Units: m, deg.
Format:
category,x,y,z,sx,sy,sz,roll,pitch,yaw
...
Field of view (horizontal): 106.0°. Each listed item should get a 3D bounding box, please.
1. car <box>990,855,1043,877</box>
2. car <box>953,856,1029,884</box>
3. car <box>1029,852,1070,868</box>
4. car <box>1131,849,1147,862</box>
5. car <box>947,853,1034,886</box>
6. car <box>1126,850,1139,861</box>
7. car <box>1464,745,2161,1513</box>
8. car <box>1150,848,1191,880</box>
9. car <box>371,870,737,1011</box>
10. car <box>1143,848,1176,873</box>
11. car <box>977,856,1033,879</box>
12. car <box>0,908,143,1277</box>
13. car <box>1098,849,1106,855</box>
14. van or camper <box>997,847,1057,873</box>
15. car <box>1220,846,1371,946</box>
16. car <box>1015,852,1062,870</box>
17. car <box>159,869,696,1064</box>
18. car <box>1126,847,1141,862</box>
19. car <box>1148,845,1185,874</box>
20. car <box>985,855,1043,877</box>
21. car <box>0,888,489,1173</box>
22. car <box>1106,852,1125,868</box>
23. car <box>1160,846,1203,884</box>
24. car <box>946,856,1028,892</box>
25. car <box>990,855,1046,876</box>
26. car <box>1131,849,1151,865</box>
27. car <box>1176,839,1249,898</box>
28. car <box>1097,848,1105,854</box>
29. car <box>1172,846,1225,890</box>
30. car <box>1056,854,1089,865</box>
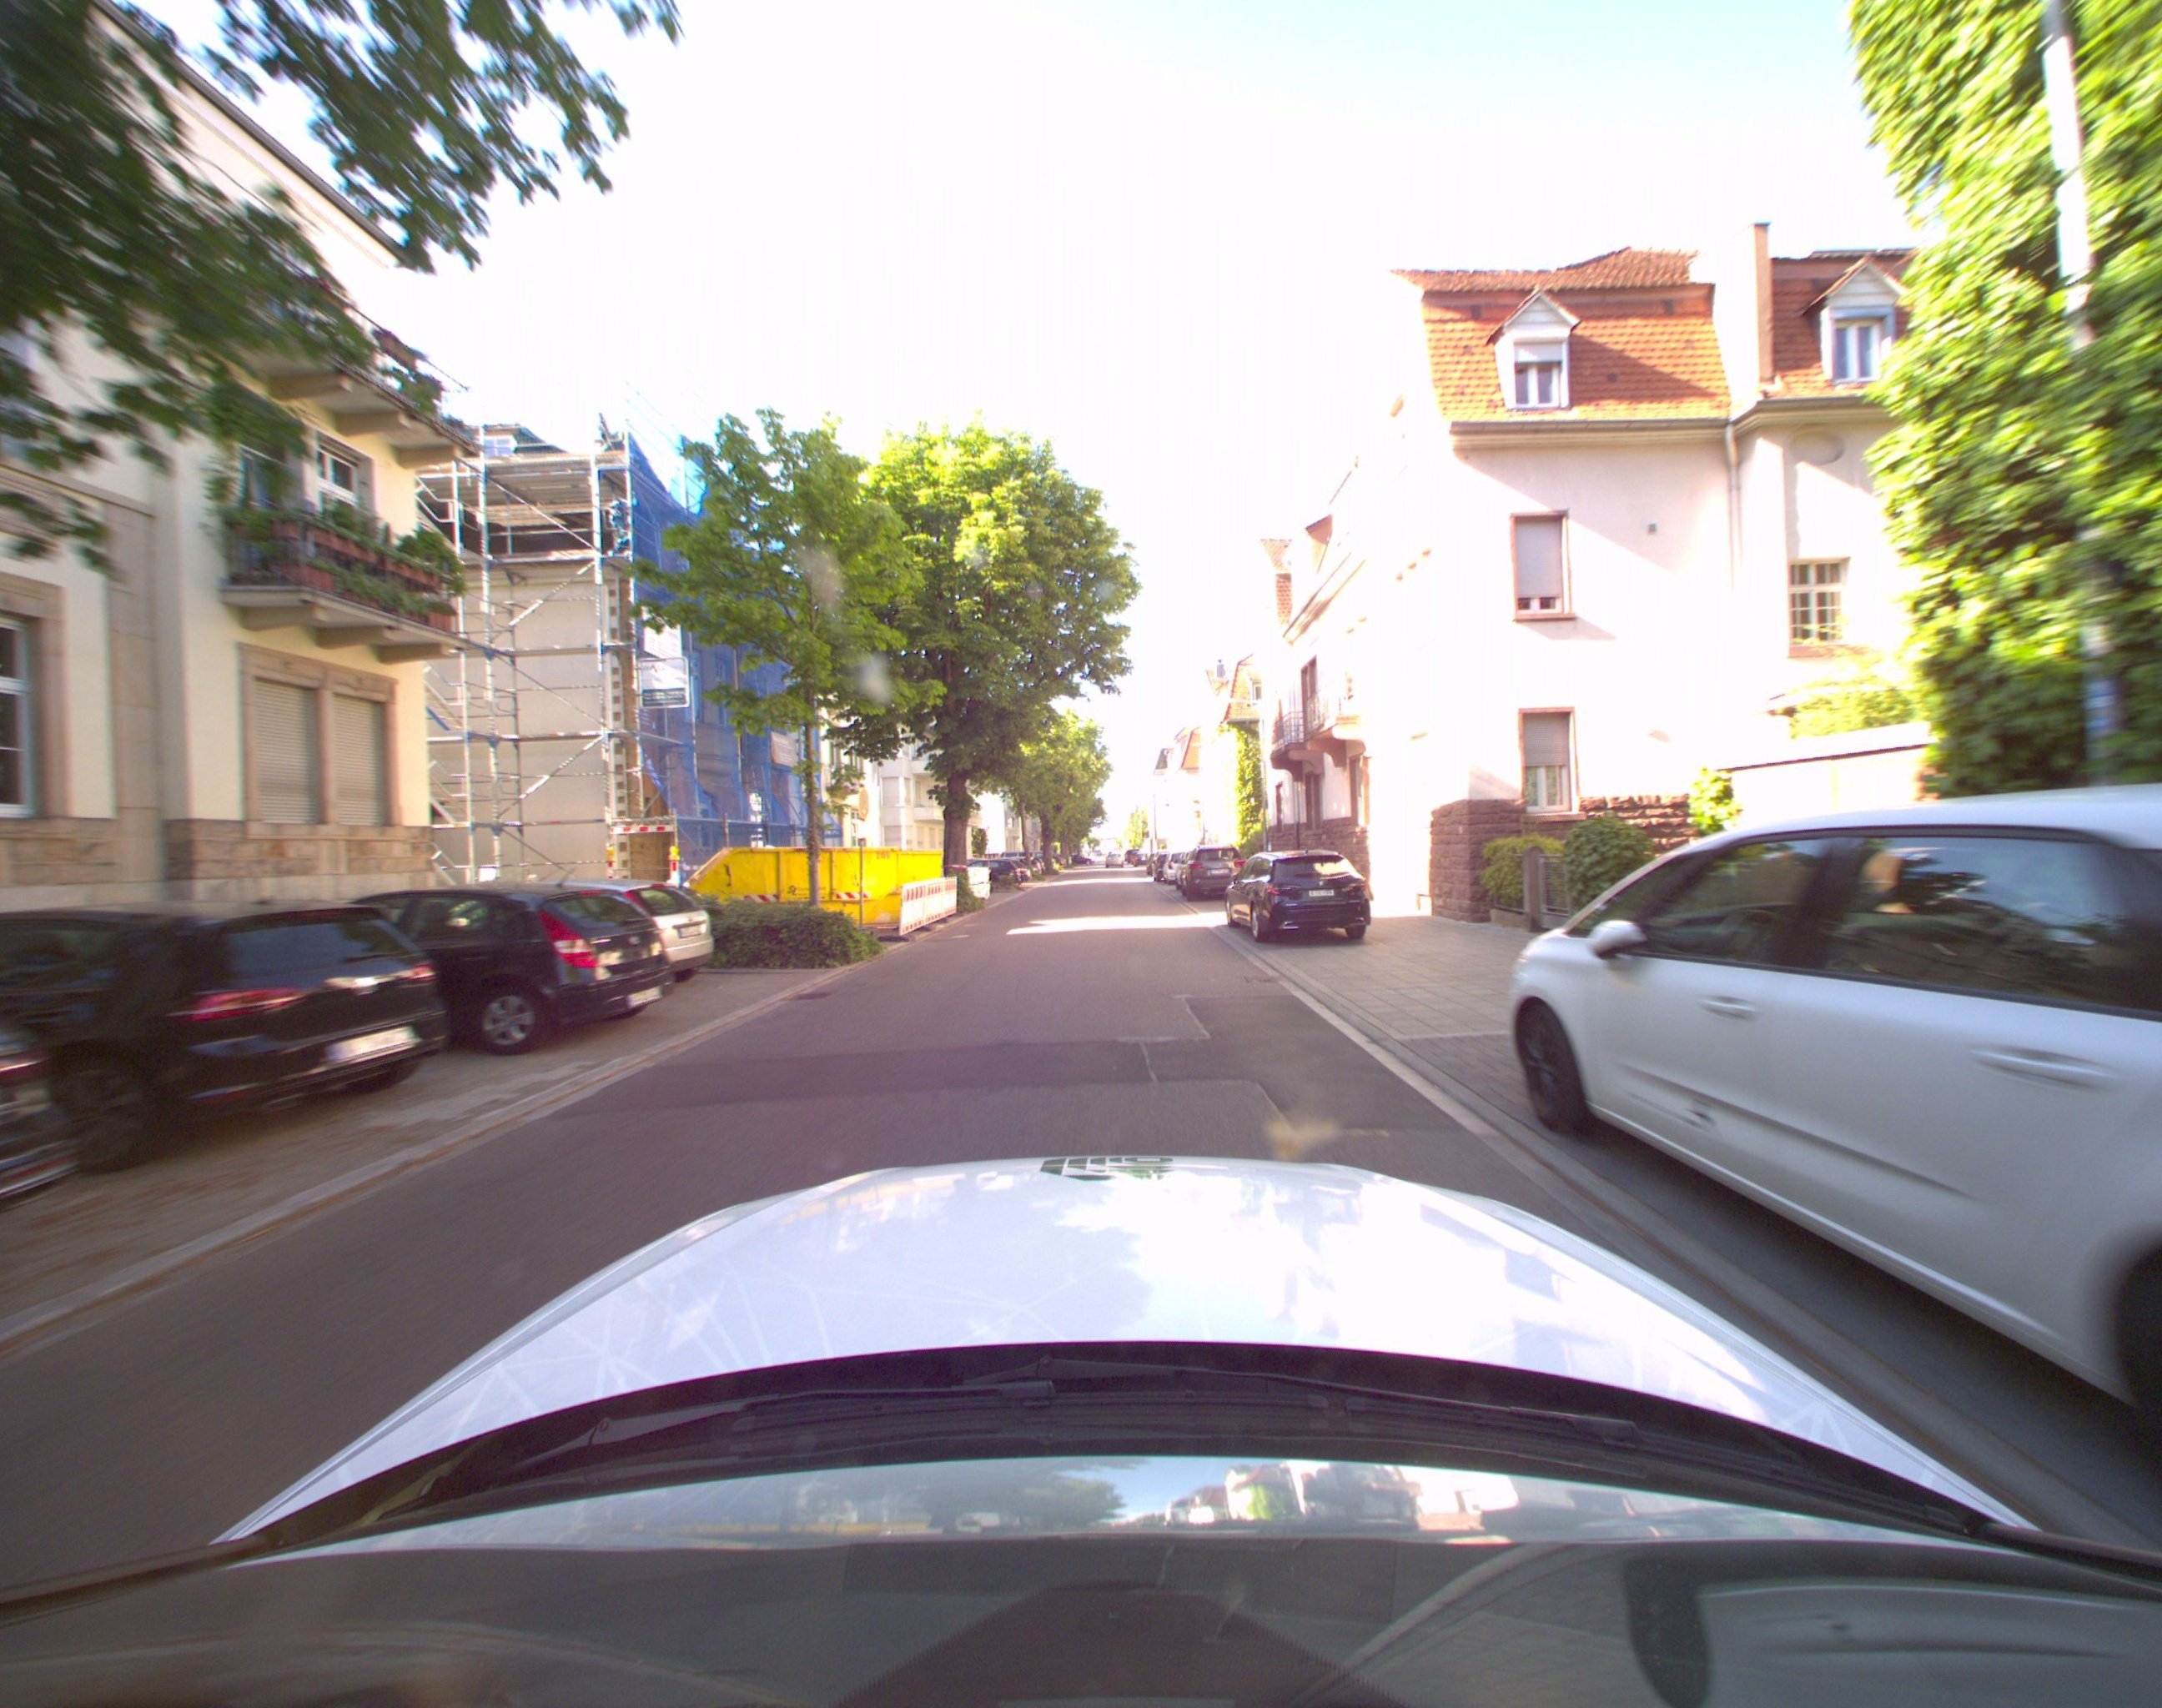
category,x,y,z,sx,sy,sz,roll,pitch,yaw
car,-4.487,0.835,57.180,3.464,1.458,1.799,-1,0,2
car,-5.171,0.943,47.292,4.173,1.441,1.713,-2,0,0
car,-3.129,0.589,81.896,3.972,1.468,1.697,-3,0,1
car,6.855,0.175,96.554,1.586,1.480,3.248,-4,0,2
car,-4.944,0.844,44.745,4.585,1.607,1.828,-2,0,-7
car,7.683,0.204,122.211,1.730,1.531,4.181,-2,0,2
car,3.261,0.541,2.938,1.860,1.644,4.202,-3,0,2
car,4.524,0.534,41.635,1.703,1.436,4.194,-4,-1,2
car,-6.620,1.047,10.498,3.535,1.448,1.696,-3,0,2
car,5.176,0.465,53.939,1.657,1.520,3.999,-4,-1,-1
car,-4.843,0.844,52.319,3.471,1.420,1.708,-1,-1,-4
car,-6.295,1.002,2.816,4.124,1.401,1.711,-2,0,1
car,6.077,-0.542,235.087,1.868,1.728,3.996,-3,0,-2
van or camper,-4.300,0.457,65.219,4.480,1.914,1.965,-2,0,1
car,3.598,0.619,14.445,1.637,1.454,4.506,-2,0,2
car,-3.987,0.622,76.796,4.172,1.498,1.861,-3,0,0
car,-5.996,0.984,7.797,3.711,1.464,1.716,-2,1,2
car,7.031,0.078,109.191,1.864,1.905,5.201,-3,-1,3
car,5.072,0.338,48.561,1.785,1.520,4.368,-4,-1,2
car,-4.501,0.802,54.828,3.628,1.463,1.712,-1,0,3
car,-6.324,1.036,5.275,3.733,1.431,1.647,-2,0,2
car,3.427,0.586,80.945,1.719,1.420,3.965,-2,0,4
car,4.573,0.499,37.335,1.569,1.549,3.470,-4,-1,2
car,-4.656,0.987,40.423,3.867,1.514,1.828,-3,0,-7
car,-4.585,0.831,59.710,3.909,1.414,1.715,-1,1,-1
car,5.815,0.267,79.688,1.614,1.439,3.935,-5,0,0
car,4.012,0.445,25.452,1.771,1.696,4.323,0,-1,2
car,5.921,-0.882,241.861,1.783,1.532,3.994,-2,0,-4
car,4.394,0.519,30.772,1.619,1.549,2.870,-1,-1,2
car,-1.108,0.746,107.194,4.170,1.448,1.714,0,-1,3
